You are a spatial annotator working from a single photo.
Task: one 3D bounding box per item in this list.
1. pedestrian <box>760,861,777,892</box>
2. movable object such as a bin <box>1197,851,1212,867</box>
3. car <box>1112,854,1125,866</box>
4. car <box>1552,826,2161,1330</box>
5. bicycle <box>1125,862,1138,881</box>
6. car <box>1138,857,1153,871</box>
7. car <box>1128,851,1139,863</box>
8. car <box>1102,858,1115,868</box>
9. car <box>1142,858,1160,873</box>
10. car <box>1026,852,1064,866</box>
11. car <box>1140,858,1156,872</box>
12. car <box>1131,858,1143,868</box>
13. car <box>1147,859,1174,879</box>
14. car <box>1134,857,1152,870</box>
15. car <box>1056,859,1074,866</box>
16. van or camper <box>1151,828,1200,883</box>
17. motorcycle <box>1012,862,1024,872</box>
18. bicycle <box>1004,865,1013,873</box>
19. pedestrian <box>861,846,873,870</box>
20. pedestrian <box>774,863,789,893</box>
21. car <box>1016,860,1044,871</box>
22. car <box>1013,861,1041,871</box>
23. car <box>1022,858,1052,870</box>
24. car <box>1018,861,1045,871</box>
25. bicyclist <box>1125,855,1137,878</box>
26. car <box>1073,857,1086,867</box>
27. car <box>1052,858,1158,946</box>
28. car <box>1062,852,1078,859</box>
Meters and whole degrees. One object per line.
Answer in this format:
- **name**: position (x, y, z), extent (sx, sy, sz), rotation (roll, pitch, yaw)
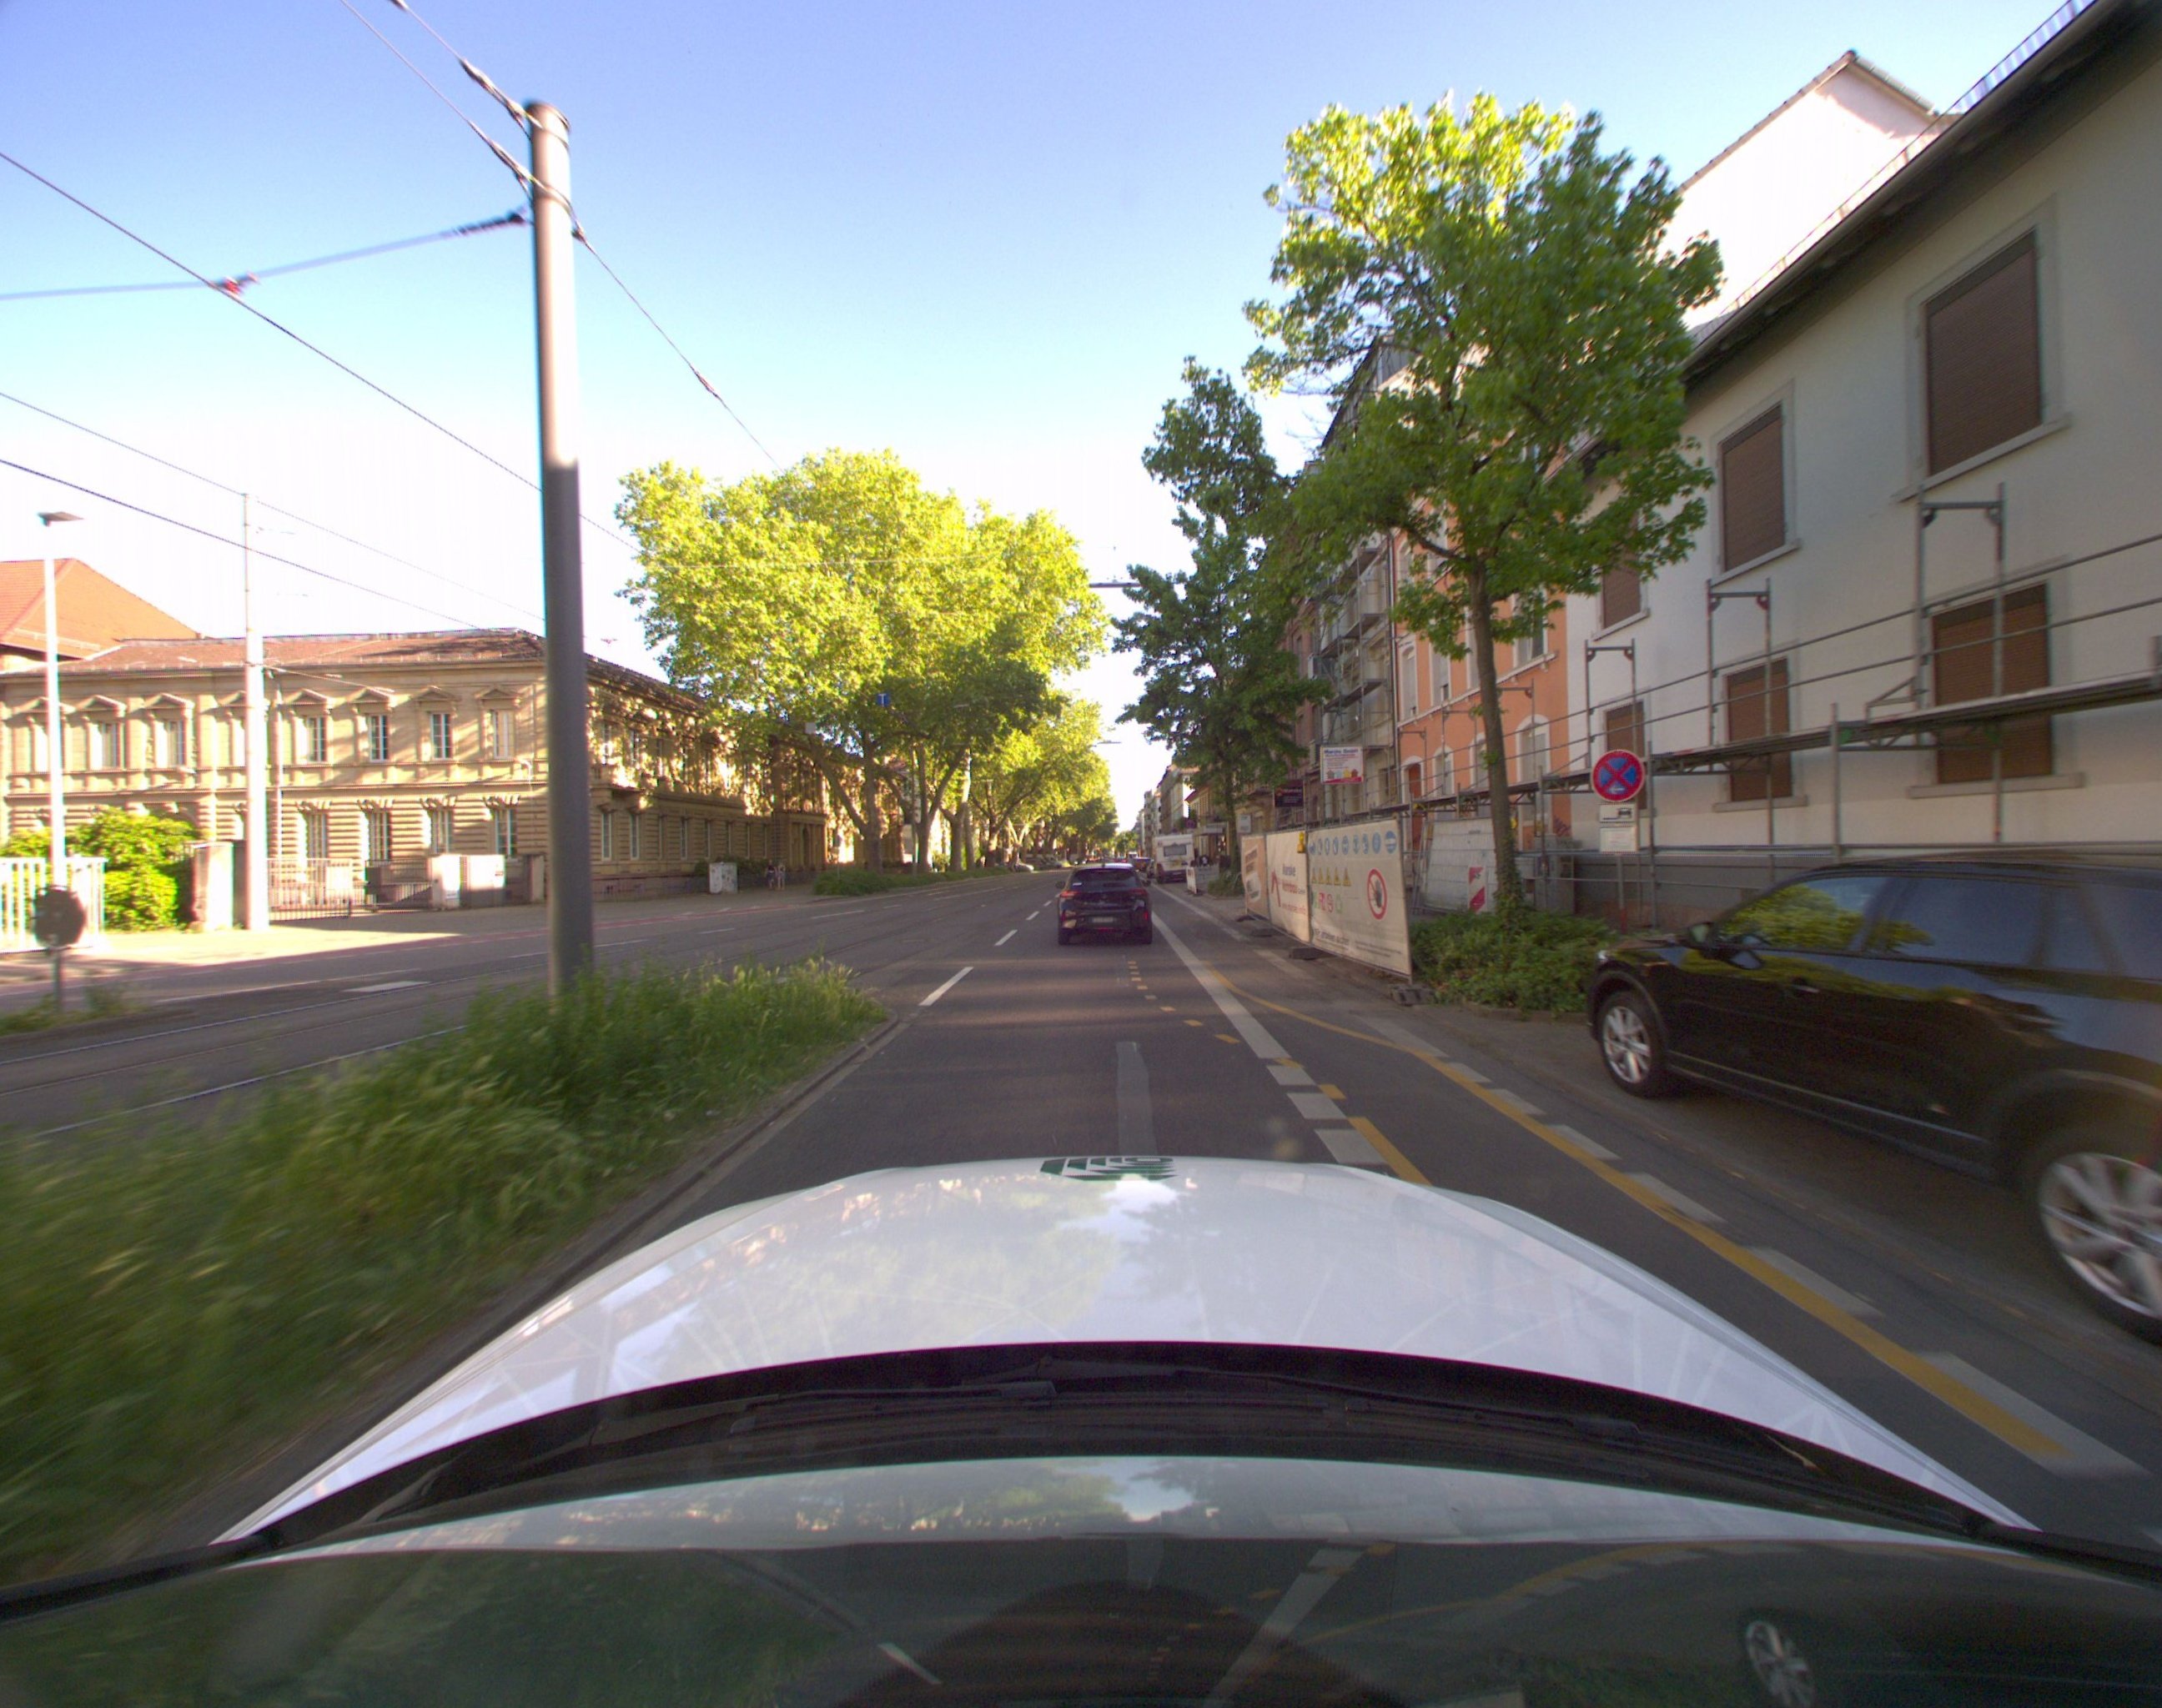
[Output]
- **pedestrian**: position (-17.437, 1.254, 45.456), extent (0.670, 1.697, 0.661), rotation (-1, -1, -5)
- **movable object such as a bin**: position (11.429, 0.473, 75.340), extent (1.288, 1.520, 1.287), rotation (-1, -1, 2)
- **car**: position (5.585, 0.844, 120.749), extent (1.802, 1.742, 3.937), rotation (-1, -1, 4)
- **car**: position (4.191, 0.646, 3.851), extent (1.755, 1.483, 4.114), rotation (-2, 0, 4)
- **bicycle**: position (3.841, 1.340, 61.890), extent (0.857, 1.407, 2.525), rotation (-1, -1, 2)
- **car**: position (7.570, 1.192, 95.885), extent (1.627, 1.546, 3.579), rotation (-2, -1, 4)
- **car**: position (11.169, 0.668, 173.859), extent (2.066, 2.219, 4.938), rotation (-5, -1, 4)
- **car**: position (3.735, 1.219, 111.680), extent (1.803, 1.338, 3.933), rotation (-1, -1, 1)
- **car**: position (7.159, 1.167, 83.906), extent (1.686, 1.392, 4.499), rotation (-2, -1, 4)
- **car**: position (-6.476, 0.969, 146.630), extent (6.601, 2.409, 2.459), rotation (0, -1, 2)
- **car**: position (7.500, 1.194, 91.332), extent (1.644, 1.456, 3.871), rotation (-2, -1, 3)
- **car**: position (9.356, 1.490, 136.269), extent (1.696, 1.456, 3.703), rotation (-5, -1, 6)
- **car**: position (6.251, 1.156, 64.659), extent (1.802, 1.435, 4.667), rotation (-2, -1, 2)
- **car**: position (8.084, 1.272, 106.879), extent (1.874, 1.586, 3.931), rotation (-4, -1, -1)
- **car**: position (-3.505, 1.903, 177.582), extent (3.907, 1.498, 1.677), rotation (0, -1, -1)
- **van or camper**: position (5.796, 0.112, 51.156), extent (2.466, 2.972, 7.892), rotation (-4, -1, 4)
- **motorcycle**: position (-7.571, 1.507, 97.638), extent (0.879, 1.147, 2.397), rotation (-1, 0, 10)
- **bicycle**: position (-8.660, 1.779, 97.689), extent (0.537, 0.940, 2.040), rotation (-1, 0, 10)
- **pedestrian**: position (-16.113, 0.305, 61.383), extent (0.718, 1.849, 0.836), rotation (-1, -1, -5)
- **pedestrian**: position (-16.761, 1.341, 45.563), extent (0.633, 1.697, 0.655), rotation (-1, -1, -5)
- **car**: position (-7.493, 1.688, 119.691), extent (3.979, 1.627, 1.880), rotation (0, -1, 2)
- **car**: position (-7.784, 1.737, 117.558), extent (3.904, 1.442, 1.750), rotation (0, -1, 2)
- **car**: position (-7.067, 1.661, 131.508), extent (4.655, 1.924, 1.982), rotation (0, -1, 3)
- **car**: position (-7.387, 1.781, 122.094), extent (3.906, 1.422, 1.819), rotation (0, -1, 1)
- **bicyclist**: position (3.815, 0.919, 61.777), extent (0.845, 1.740, 1.162), rotation (-1, -1, 1)
- **car**: position (-0.238, 1.328, 137.974), extent (1.859, 1.629, 4.563), rotation (-1, 0, 2)
- **car**: position (0.486, 0.830, 15.629), extent (1.787, 1.441, 3.533), rotation (-1, 0, 2)
- **car**: position (-2.808, 0.481, 207.988), extent (3.907, 1.790, 1.677), rotation (0, -1, -1)
